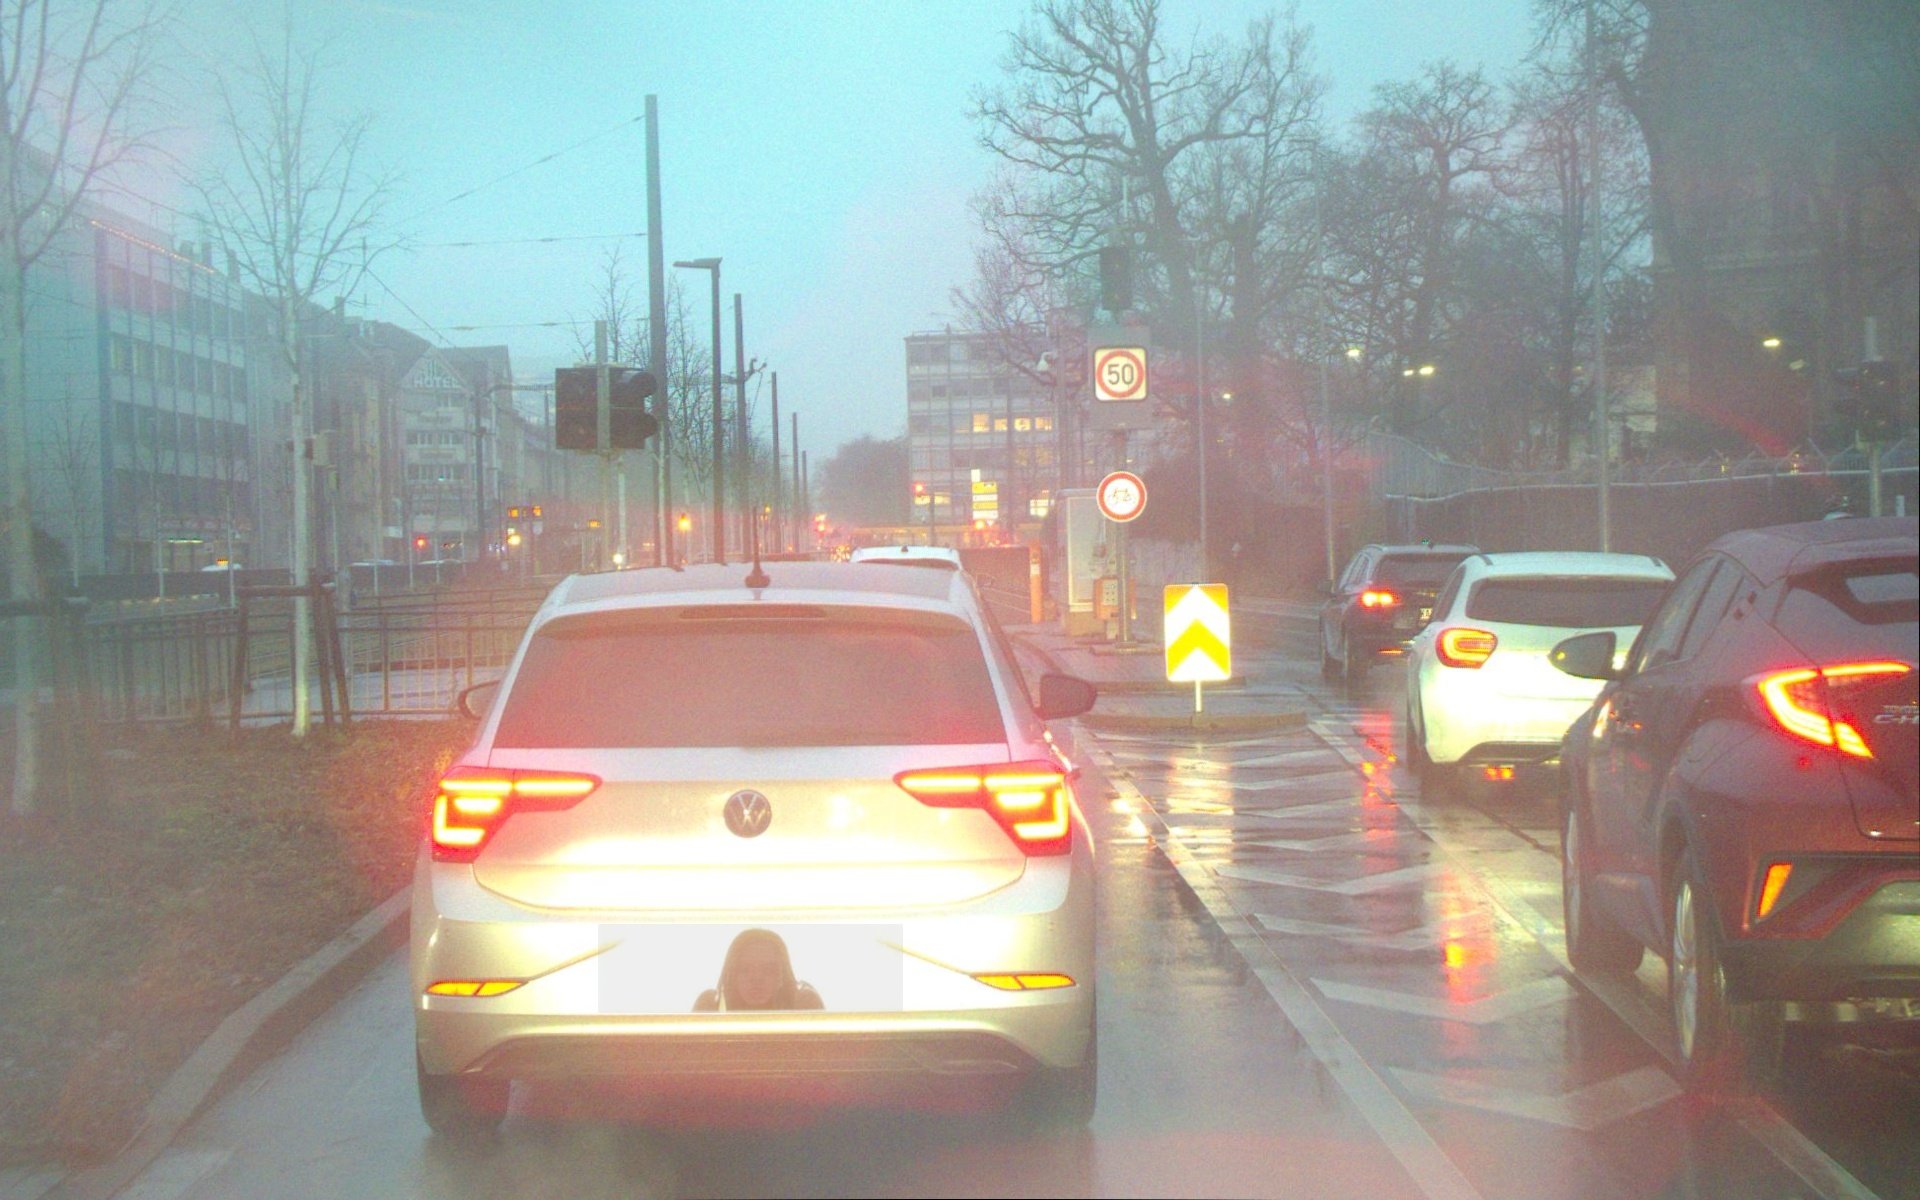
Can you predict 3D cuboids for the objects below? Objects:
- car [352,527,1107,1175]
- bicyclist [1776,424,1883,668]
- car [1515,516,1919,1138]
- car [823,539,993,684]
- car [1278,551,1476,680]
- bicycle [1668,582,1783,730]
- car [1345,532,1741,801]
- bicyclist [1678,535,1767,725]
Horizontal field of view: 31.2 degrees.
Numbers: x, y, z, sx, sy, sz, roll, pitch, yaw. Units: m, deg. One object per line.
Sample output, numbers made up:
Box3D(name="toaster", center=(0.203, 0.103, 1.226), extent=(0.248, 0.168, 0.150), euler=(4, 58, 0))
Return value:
Box3D(name="car", center=(-0.532, 0.569, 9.898), extent=(1.722, 1.474, 4.000), euler=(0, 0, 0))
Box3D(name="bicyclist", center=(6.429, -0.403, 25.447), extent=(0.500, 1.761, 0.837), euler=(-2, 1, -3))
Box3D(name="car", center=(2.714, 0.535, 10.154), extent=(1.722, 1.474, 4.000), euler=(0, 0, 3))
Box3D(name="car", center=(-0.539, 0.108, 37.090), extent=(1.722, 1.474, 4.000), euler=(0, 0, 0))
Box3D(name="car", center=(4.423, 0.148, 36.945), extent=(1.623, 1.295, 4.000), euler=(0, 0, 0))
Box3D(name="bicycle", center=(6.487, 0.454, 29.199), extent=(0.411, 1.181, 1.948), euler=(-2, 1, -3))
Box3D(name="car", center=(3.446, 0.358, 21.011), extent=(1.722, 1.474, 4.000), euler=(0, 0, 0))
Box3D(name="bicyclist", center=(6.484, 0.243, 29.257), extent=(0.500, 1.586, 0.837), euler=(-2, 1, -3))
